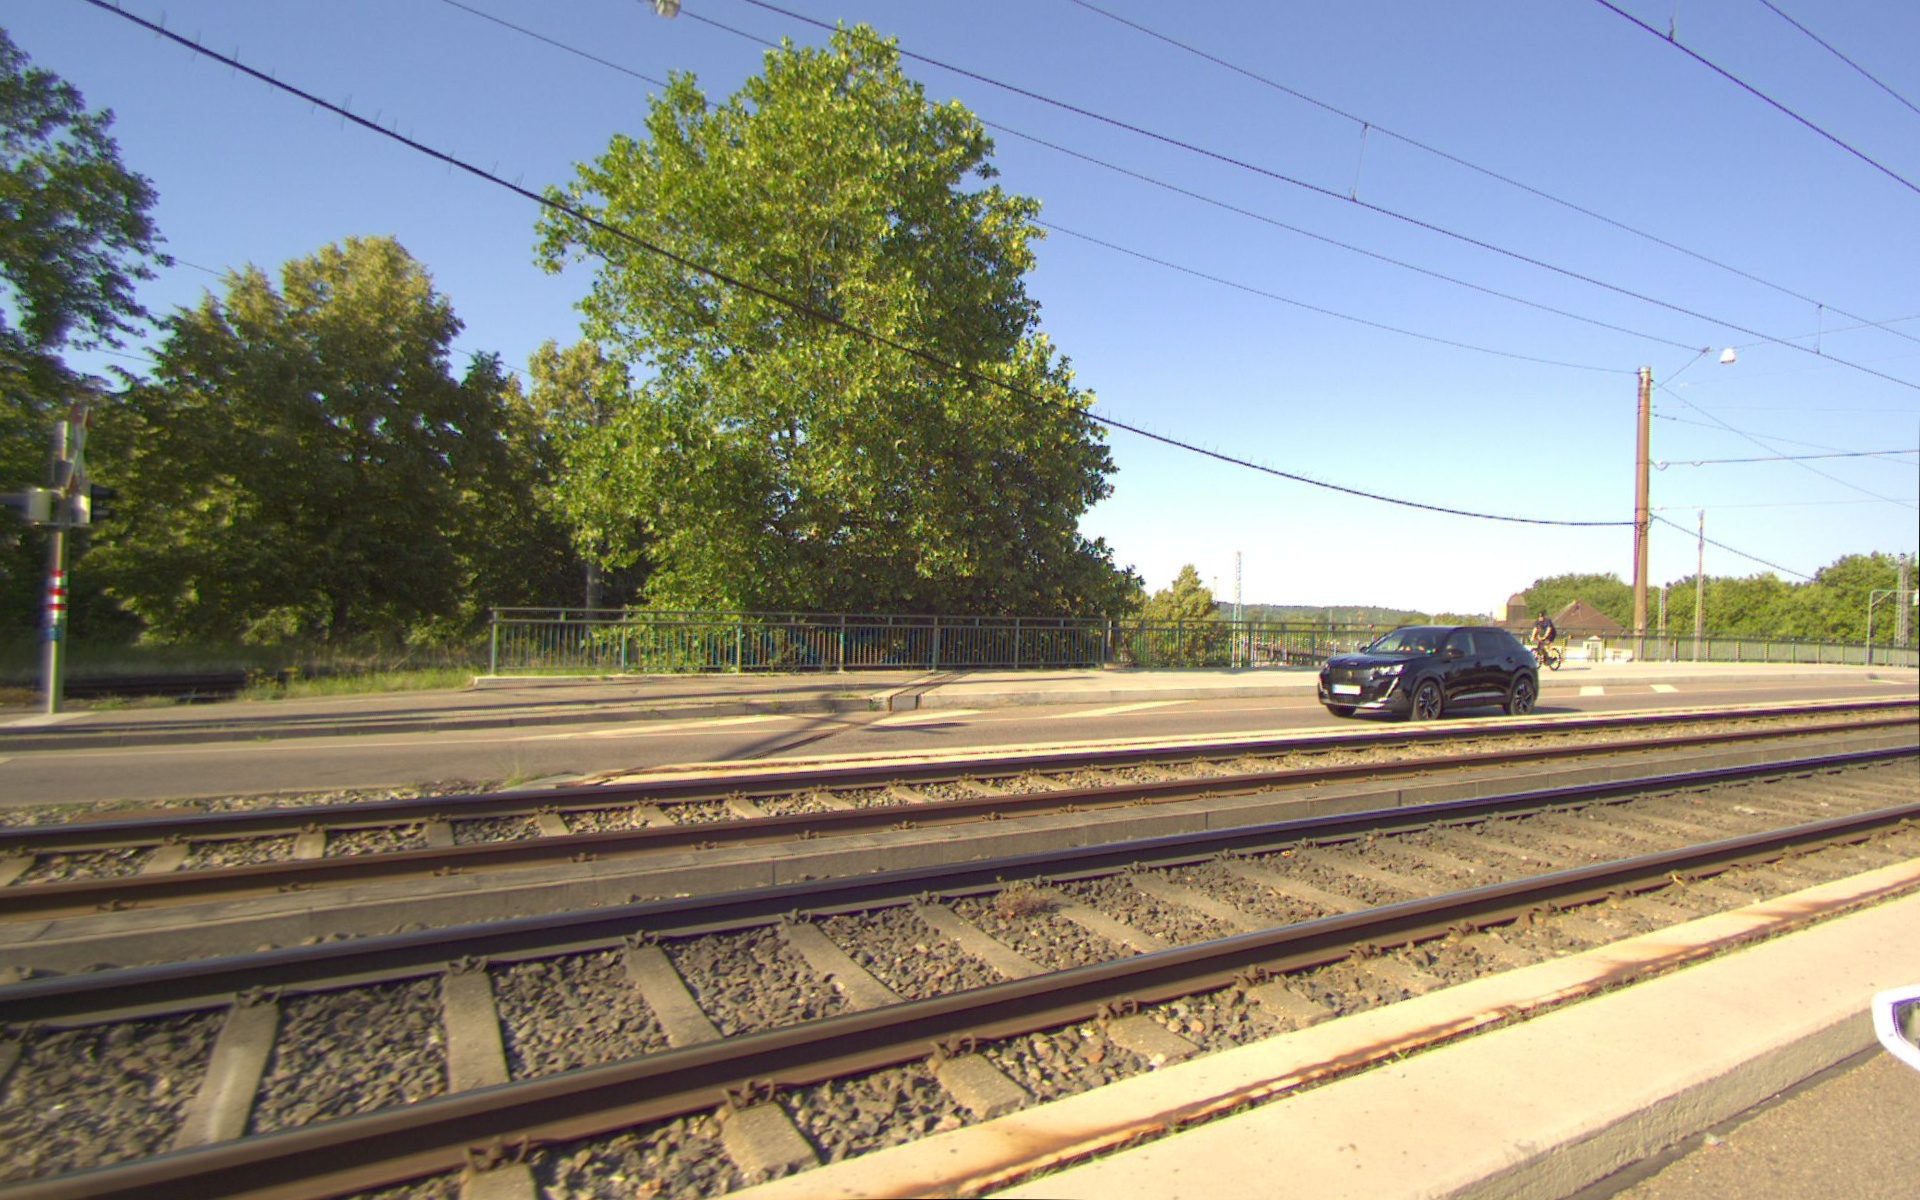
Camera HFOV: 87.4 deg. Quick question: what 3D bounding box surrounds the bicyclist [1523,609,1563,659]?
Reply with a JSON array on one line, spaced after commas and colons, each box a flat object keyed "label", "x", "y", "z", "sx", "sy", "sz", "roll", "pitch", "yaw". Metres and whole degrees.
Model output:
[{"label": "bicyclist", "x": 17.475, "y": 1.026, "z": 30.116, "sx": 0.957, "sy": 1.451, "sz": 0.622, "roll": 2, "pitch": -1, "yaw": -30}]

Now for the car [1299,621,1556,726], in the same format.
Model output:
[{"label": "car", "x": 7.851, "y": 1.193, "z": 16.808, "sx": 4.169, "sy": 1.522, "sz": 1.840, "roll": 2, "pitch": -1, "yaw": -30}]

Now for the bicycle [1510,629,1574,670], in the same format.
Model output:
[{"label": "bicycle", "x": 17.472, "y": 1.490, "z": 30.121, "sx": 2.233, "sy": 1.137, "sz": 0.622, "roll": 3, "pitch": -1, "yaw": -30}]
